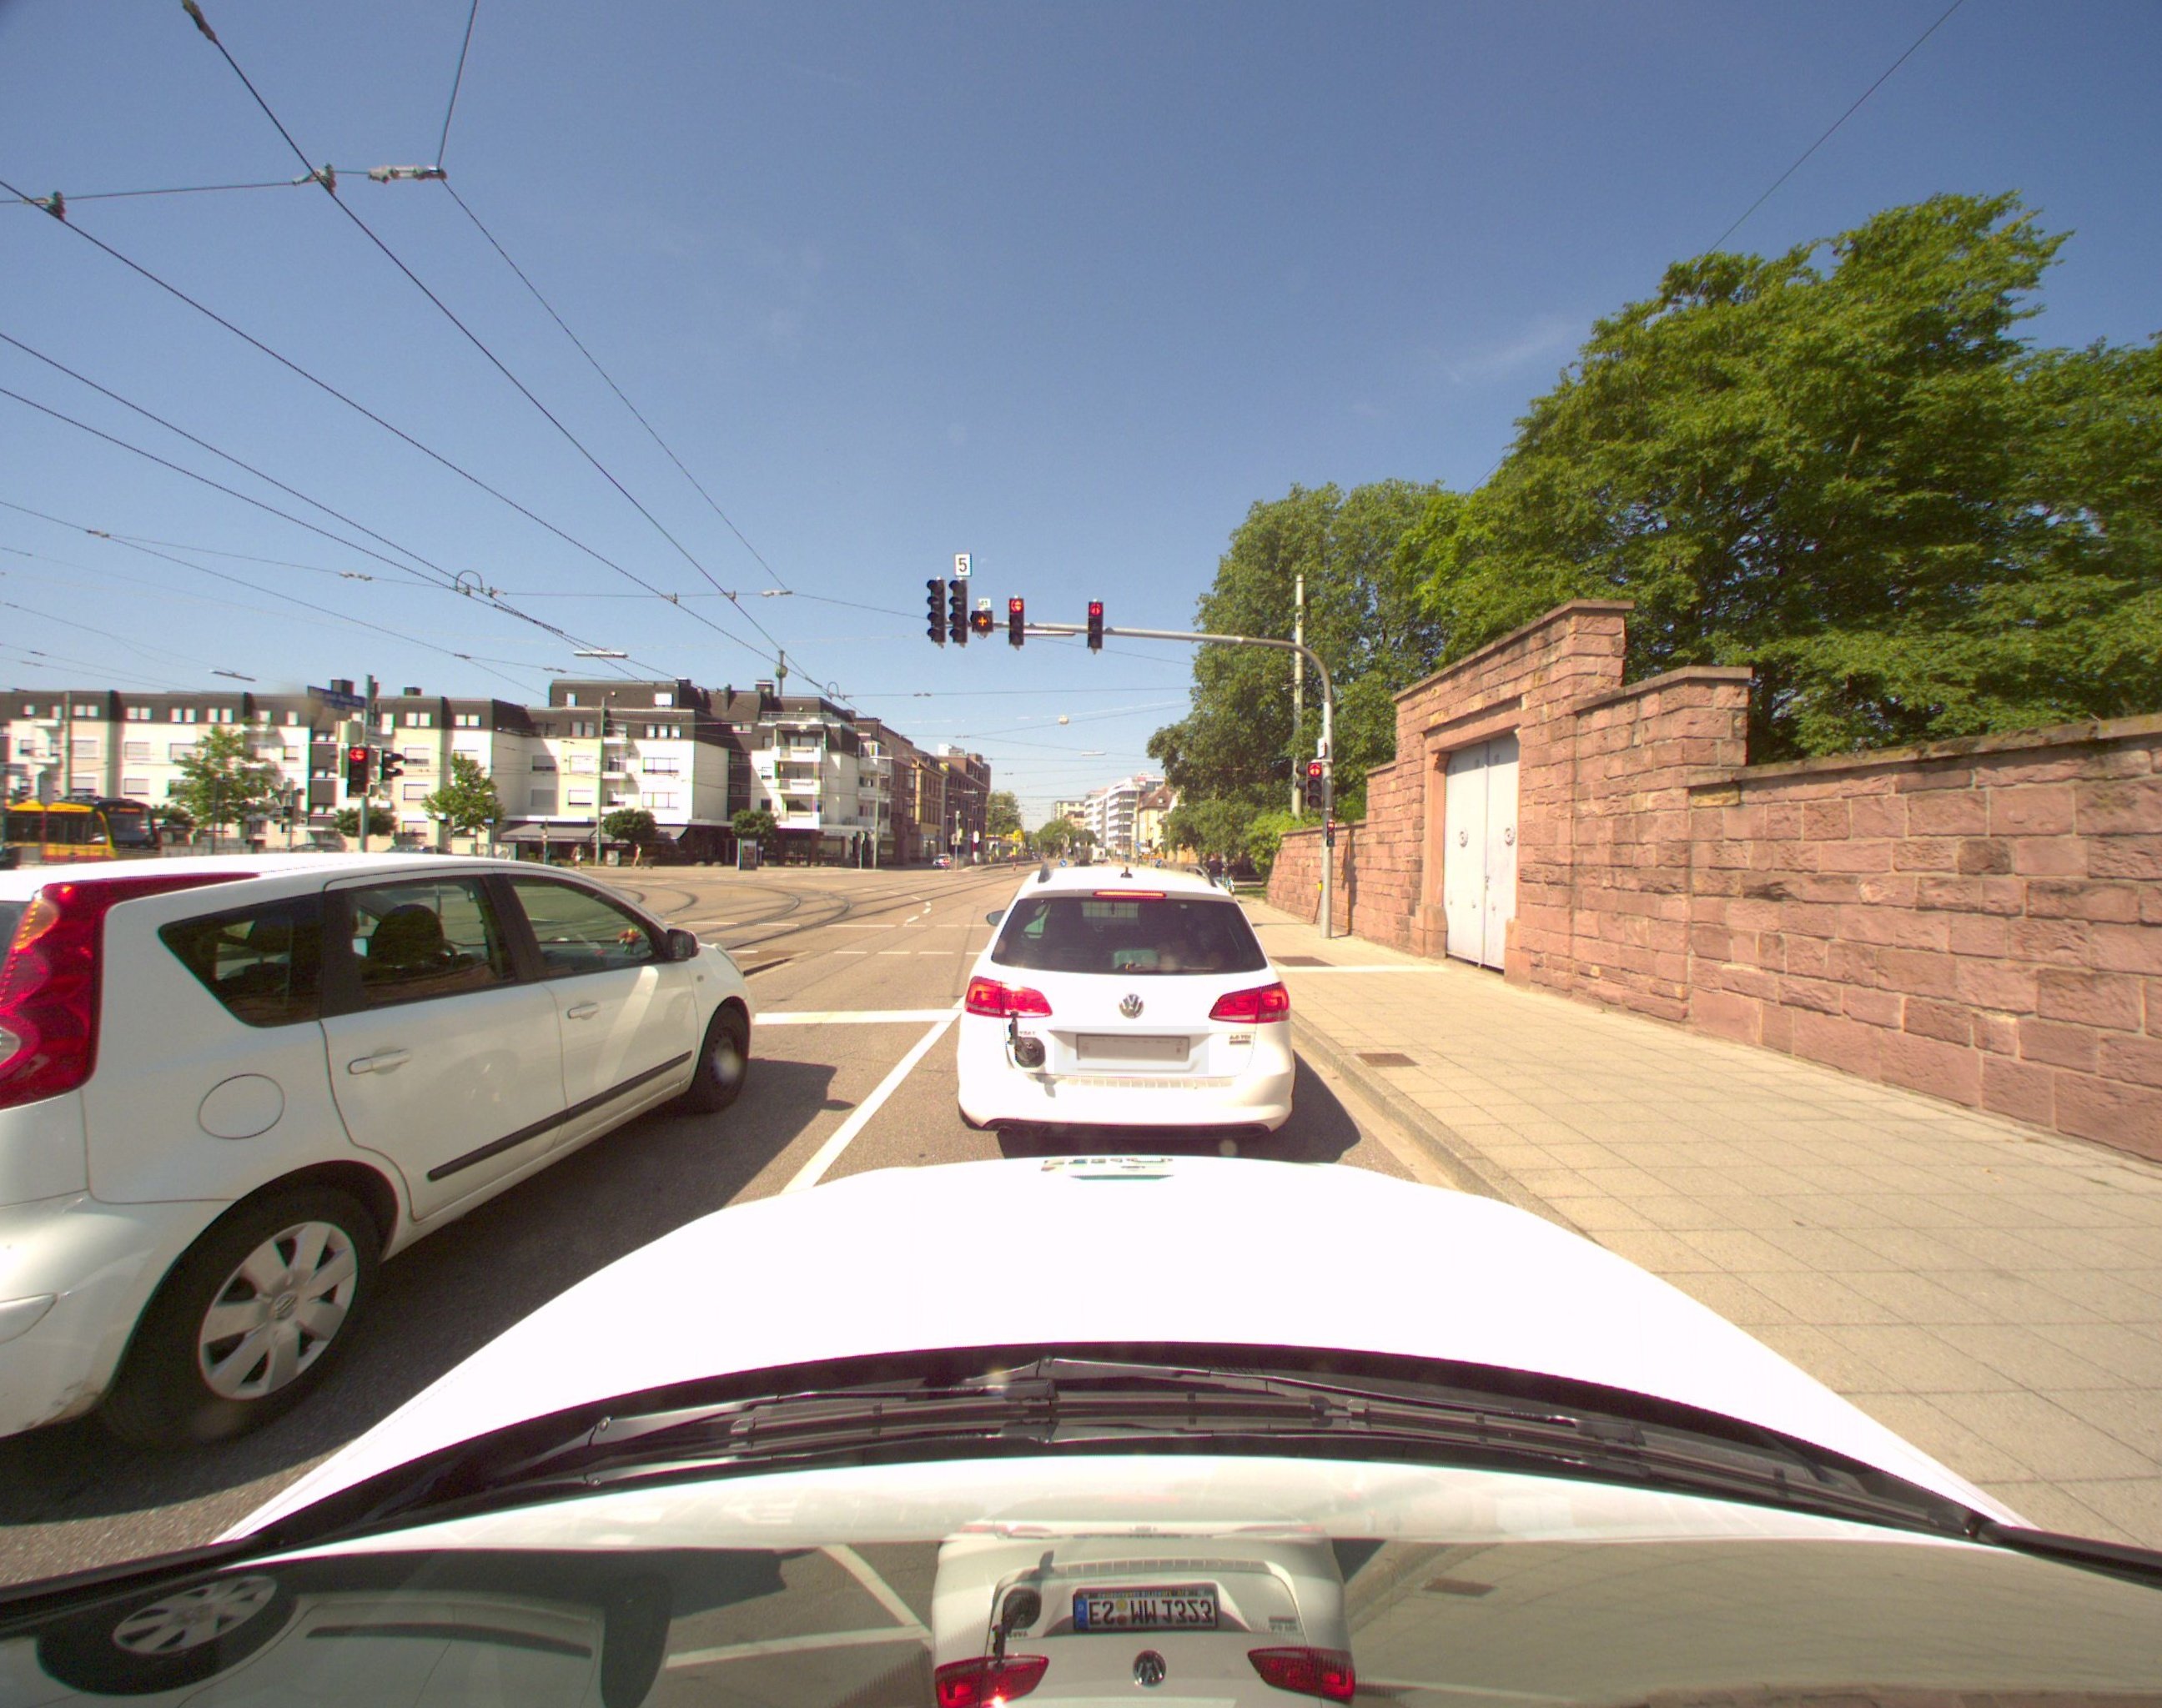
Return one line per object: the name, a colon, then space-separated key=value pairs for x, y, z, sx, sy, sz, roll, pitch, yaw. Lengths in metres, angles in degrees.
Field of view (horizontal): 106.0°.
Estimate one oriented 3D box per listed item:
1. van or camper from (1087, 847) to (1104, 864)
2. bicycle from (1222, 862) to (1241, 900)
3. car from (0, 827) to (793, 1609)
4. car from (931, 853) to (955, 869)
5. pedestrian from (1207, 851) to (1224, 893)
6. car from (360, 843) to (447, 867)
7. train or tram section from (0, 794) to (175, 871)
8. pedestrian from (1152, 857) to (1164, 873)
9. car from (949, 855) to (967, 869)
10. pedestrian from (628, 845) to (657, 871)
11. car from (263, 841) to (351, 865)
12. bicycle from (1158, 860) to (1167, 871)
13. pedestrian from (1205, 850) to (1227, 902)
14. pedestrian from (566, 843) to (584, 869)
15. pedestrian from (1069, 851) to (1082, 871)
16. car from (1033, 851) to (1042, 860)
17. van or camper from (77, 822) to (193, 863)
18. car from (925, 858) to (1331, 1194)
van or camper: x=2.865 y=0.325 z=158.978 sx=2.936 sy=3.180 sz=6.608 roll=1 pitch=0 yaw=-2
bicycle: x=4.575 y=0.814 z=24.750 sx=0.532 sy=1.111 sz=1.812 roll=0 pitch=-1 yaw=11
car: x=-2.960 y=0.736 z=3.677 sx=1.759 sy=1.561 sz=4.068 roll=0 pitch=0 yaw=2
car: x=-13.660 y=0.682 z=80.868 sx=1.620 sy=1.431 sz=3.962 roll=2 pitch=0 yaw=0
pedestrian: x=5.446 y=0.712 z=33.112 sx=0.646 sy=1.682 sz=0.709 roll=1 pitch=0 yaw=8
car: x=-44.933 y=0.067 z=54.076 sx=4.158 sy=1.500 sz=1.828 roll=1 pitch=0 yaw=0
train or tram section: x=-53.595 y=-1.094 z=40.584 sx=13.814 sy=3.658 sz=2.769 roll=1 pitch=0 yaw=1
pedestrian: x=7.052 y=0.998 z=74.548 sx=0.848 sy=1.510 sz=0.786 roll=1 pitch=0 yaw=31
car: x=-13.361 y=0.809 z=88.625 sx=1.568 sy=1.459 sz=3.811 roll=1 pitch=0 yaw=-2
pedestrian: x=-30.937 y=0.281 z=57.452 sx=1.108 sy=1.836 sz=1.448 roll=0 pitch=0 yaw=40
car: x=-51.200 y=-0.079 z=53.923 sx=3.973 sy=1.500 sz=1.828 roll=1 pitch=0 yaw=0
bicycle: x=9.049 y=1.269 z=90.299 sx=0.720 sy=1.139 sz=2.203 roll=1 pitch=0 yaw=14
pedestrian: x=4.085 y=0.648 z=24.753 sx=0.538 sy=1.549 sz=0.663 roll=-1 pitch=0 yaw=1
pedestrian: x=-33.894 y=0.141 z=54.525 sx=0.754 sy=1.760 sz=0.816 roll=0 pitch=-1 yaw=40
pedestrian: x=-0.485 y=0.620 z=71.580 sx=0.822 sy=1.809 sz=0.834 roll=0 pitch=-1 yaw=33
car: x=-10.725 y=0.367 z=201.008 sx=1.987 sy=2.014 sz=3.999 roll=0 pitch=-1 yaw=0
van or camper: x=-62.651 y=-0.752 z=53.998 sx=4.859 sy=2.624 sz=2.376 roll=1 pitch=0 yaw=0
car: x=0.267 y=0.757 z=5.475 sx=1.746 sy=1.418 sz=3.854 roll=1 pitch=0 yaw=2
